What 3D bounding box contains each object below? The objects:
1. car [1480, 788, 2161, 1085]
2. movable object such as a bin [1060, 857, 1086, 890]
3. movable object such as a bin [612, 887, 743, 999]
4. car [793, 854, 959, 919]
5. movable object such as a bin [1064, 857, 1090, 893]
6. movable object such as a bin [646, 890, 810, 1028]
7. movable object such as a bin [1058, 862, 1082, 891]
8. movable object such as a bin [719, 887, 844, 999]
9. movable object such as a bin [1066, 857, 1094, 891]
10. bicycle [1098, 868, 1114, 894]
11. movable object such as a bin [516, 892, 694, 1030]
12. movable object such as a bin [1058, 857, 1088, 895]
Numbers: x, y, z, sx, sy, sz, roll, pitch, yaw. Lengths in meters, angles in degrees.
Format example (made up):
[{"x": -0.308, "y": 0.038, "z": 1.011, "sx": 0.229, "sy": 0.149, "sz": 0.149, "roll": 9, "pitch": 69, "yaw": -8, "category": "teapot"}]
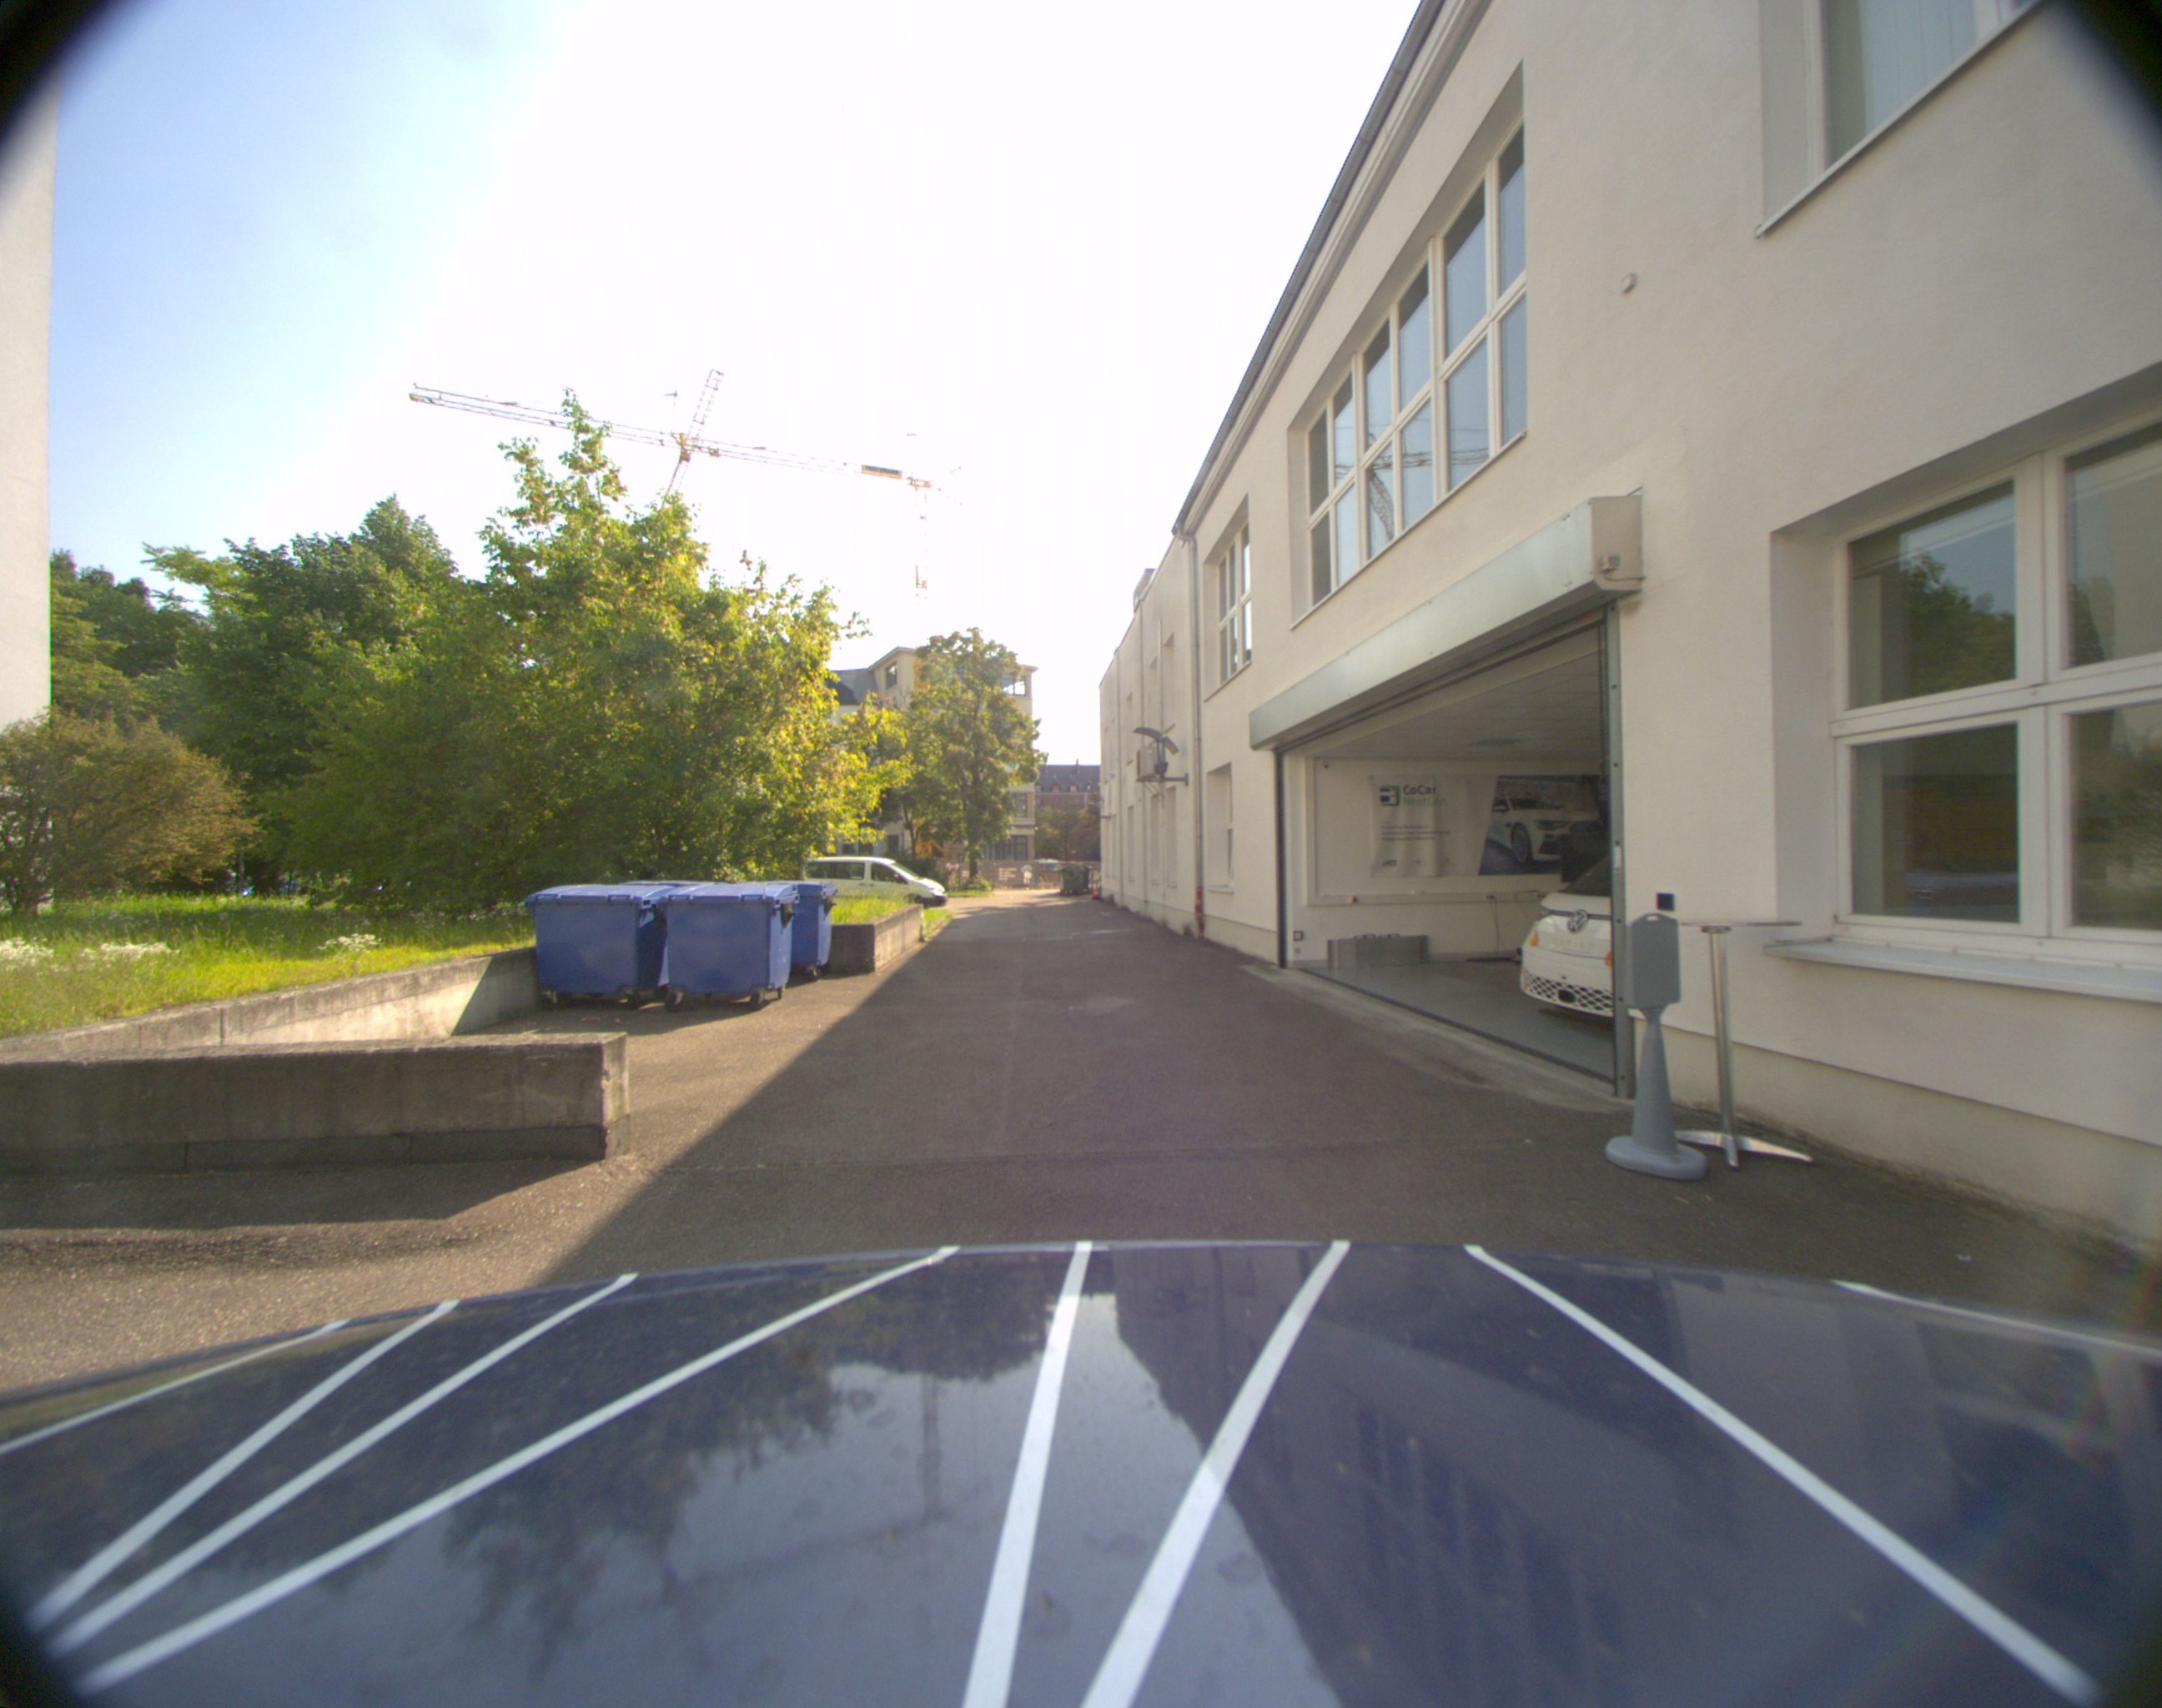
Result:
[{"x": 6.468, "y": 0.582, "z": 6.779, "sx": 4.761, "sy": 2.080, "sz": 2.054, "roll": -2, "pitch": 1, "yaw": -5, "category": "car"}, {"x": -0.437, "y": 0.998, "z": 40.049, "sx": 1.184, "sy": 1.696, "sz": 1.376, "roll": -1, "pitch": 1, "yaw": -9, "category": "movable object such as a bin"}, {"x": -5.311, "y": 1.138, "z": 10.111, "sx": 1.230, "sy": 1.332, "sz": 1.076, "roll": -1, "pitch": 1, "yaw": -10, "category": "movable object such as a bin"}, {"x": -6.746, "y": 1.035, "z": 25.434, "sx": 4.971, "sy": 1.910, "sz": 2.043, "roll": -2, "pitch": 1, "yaw": -3, "category": "car"}, {"x": -0.206, "y": 1.004, "z": 37.254, "sx": 1.184, "sy": 1.696, "sz": 1.394, "roll": -1, "pitch": 1, "yaw": -1, "category": "movable object such as a bin"}, {"x": -3.867, "y": 1.116, "z": 8.470, "sx": 1.304, "sy": 1.332, "sz": 1.194, "roll": -1, "pitch": 1, "yaw": -6, "category": "movable object such as a bin"}, {"x": -0.611, "y": 1.216, "z": 41.439, "sx": 1.037, "sy": 1.489, "sz": 1.106, "roll": -1, "pitch": 1, "yaw": -16, "category": "movable object such as a bin"}, {"x": -3.979, "y": 1.150, "z": 10.219, "sx": 1.313, "sy": 1.332, "sz": 1.099, "roll": -1, "pitch": 1, "yaw": -8, "category": "movable object such as a bin"}, {"x": -0.048, "y": 0.996, "z": 38.681, "sx": 1.184, "sy": 1.696, "sz": 1.376, "roll": -1, "pitch": 1, "yaw": -9, "category": "movable object such as a bin"}, {"x": 1.191, "y": 1.292, "z": 37.104, "sx": 0.477, "sy": 1.206, "sz": 2.007, "roll": -1, "pitch": 0, "yaw": -7, "category": "bicycle"}, {"x": -5.196, "y": 1.133, "z": 8.398, "sx": 1.238, "sy": 1.332, "sz": 1.117, "roll": -1, "pitch": 1, "yaw": -2, "category": "movable object such as a bin"}, {"x": -0.364, "y": 1.013, "z": 35.433, "sx": 1.184, "sy": 1.696, "sz": 1.376, "roll": -1, "pitch": 1, "yaw": -9, "category": "movable object such as a bin"}]
